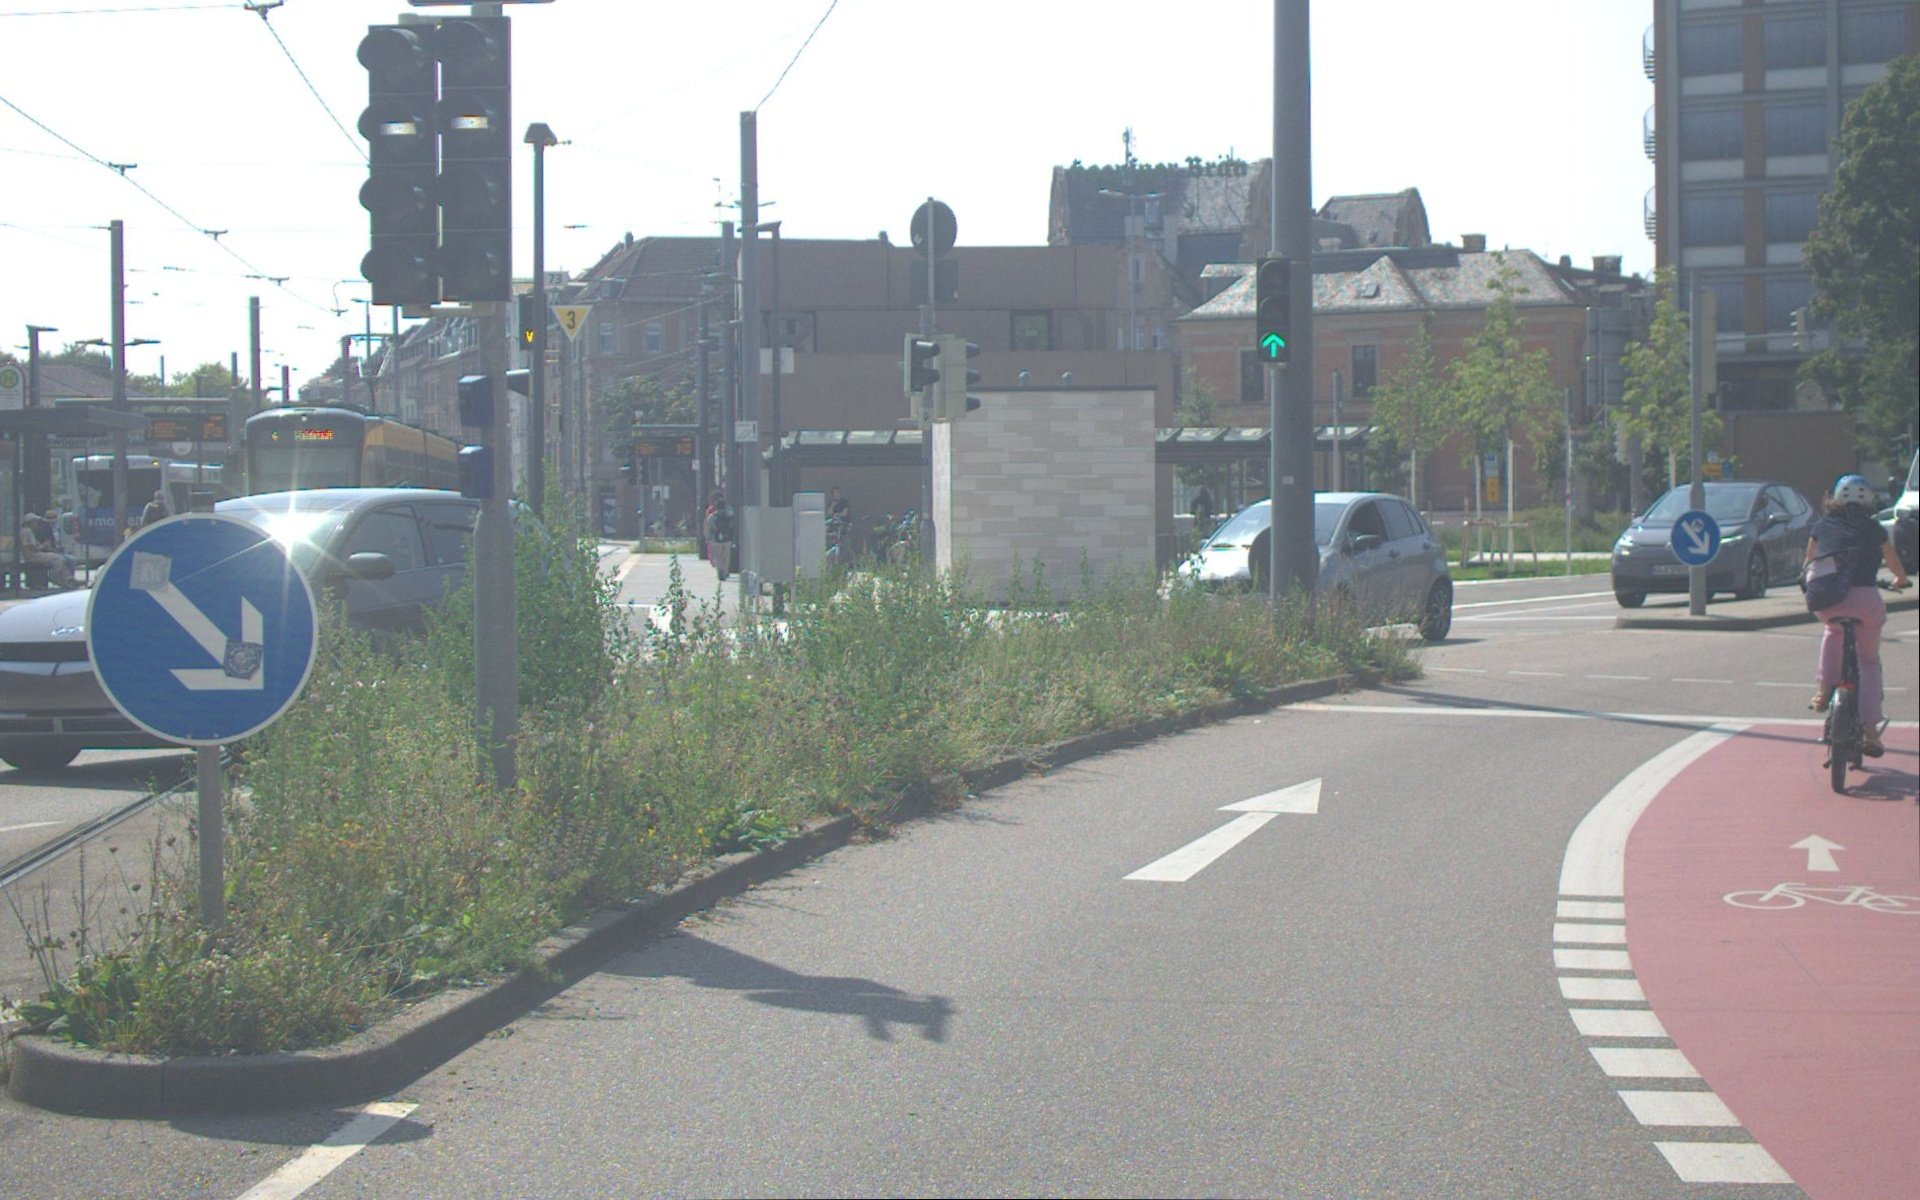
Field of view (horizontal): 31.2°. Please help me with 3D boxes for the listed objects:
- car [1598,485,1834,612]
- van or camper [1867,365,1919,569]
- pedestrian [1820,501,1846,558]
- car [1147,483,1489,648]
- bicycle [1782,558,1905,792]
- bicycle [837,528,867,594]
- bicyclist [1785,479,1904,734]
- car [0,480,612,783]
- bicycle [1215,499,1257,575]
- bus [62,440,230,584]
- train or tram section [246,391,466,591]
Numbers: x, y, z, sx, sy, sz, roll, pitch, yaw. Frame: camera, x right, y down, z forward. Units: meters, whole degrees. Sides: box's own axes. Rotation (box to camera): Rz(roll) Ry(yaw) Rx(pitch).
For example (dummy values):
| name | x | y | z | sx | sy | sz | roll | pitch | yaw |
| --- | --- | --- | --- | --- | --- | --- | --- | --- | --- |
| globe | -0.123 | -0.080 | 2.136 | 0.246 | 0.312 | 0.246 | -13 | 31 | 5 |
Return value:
| name | x | y | z | sx | sy | sz | roll | pitch | yaw |
| --- | --- | --- | --- | --- | --- | --- | --- | --- | --- |
| car | 9.663 | -0.681 | 43.701 | 1.699 | 1.525 | 4.176 | 0 | 2 | 31 |
| van or camper | 17.648 | -2.249 | 58.486 | 2.404 | 3.295 | 7.178 | 0 | 2 | 31 |
| pedestrian | 23.673 | -1.909 | 93.198 | 0.529 | 1.547 | 0.417 | -1 | 1 | -15 |
| car | 3.608 | -0.381 | 34.012 | 1.653 | 1.525 | 4.318 | 0 | 2 | 31 |
| bicycle | 4.721 | 0.369 | 18.392 | 0.604 | 1.159 | 1.809 | 0 | 2 | 14 |
| bicycle | -1.728 | -0.627 | 54.876 | 0.464 | 1.029 | 1.548 | 0 | 1 | -3 |
| bicyclist | 4.717 | 0.025 | 18.348 | 0.603 | 1.330 | 0.659 | 0 | 1 | 14 |
| car | -4.057 | 0.097 | 20.684 | 1.774 | 1.605 | 4.667 | 0 | 2 | 25 |
| bicycle | 4.427 | -1.019 | 55.080 | 0.604 | 1.206 | 1.810 | 0 | 2 | 6 |
| bus | -22.201 | -2.404 | 94.315 | 2.709 | 3.714 | 10.421 | 0 | 1 | -3 |
| train or tram section | -11.965 | -2.131 | 69.754 | 2.856 | 3.536 | 17.746 | 0 | 1 | -5 |
